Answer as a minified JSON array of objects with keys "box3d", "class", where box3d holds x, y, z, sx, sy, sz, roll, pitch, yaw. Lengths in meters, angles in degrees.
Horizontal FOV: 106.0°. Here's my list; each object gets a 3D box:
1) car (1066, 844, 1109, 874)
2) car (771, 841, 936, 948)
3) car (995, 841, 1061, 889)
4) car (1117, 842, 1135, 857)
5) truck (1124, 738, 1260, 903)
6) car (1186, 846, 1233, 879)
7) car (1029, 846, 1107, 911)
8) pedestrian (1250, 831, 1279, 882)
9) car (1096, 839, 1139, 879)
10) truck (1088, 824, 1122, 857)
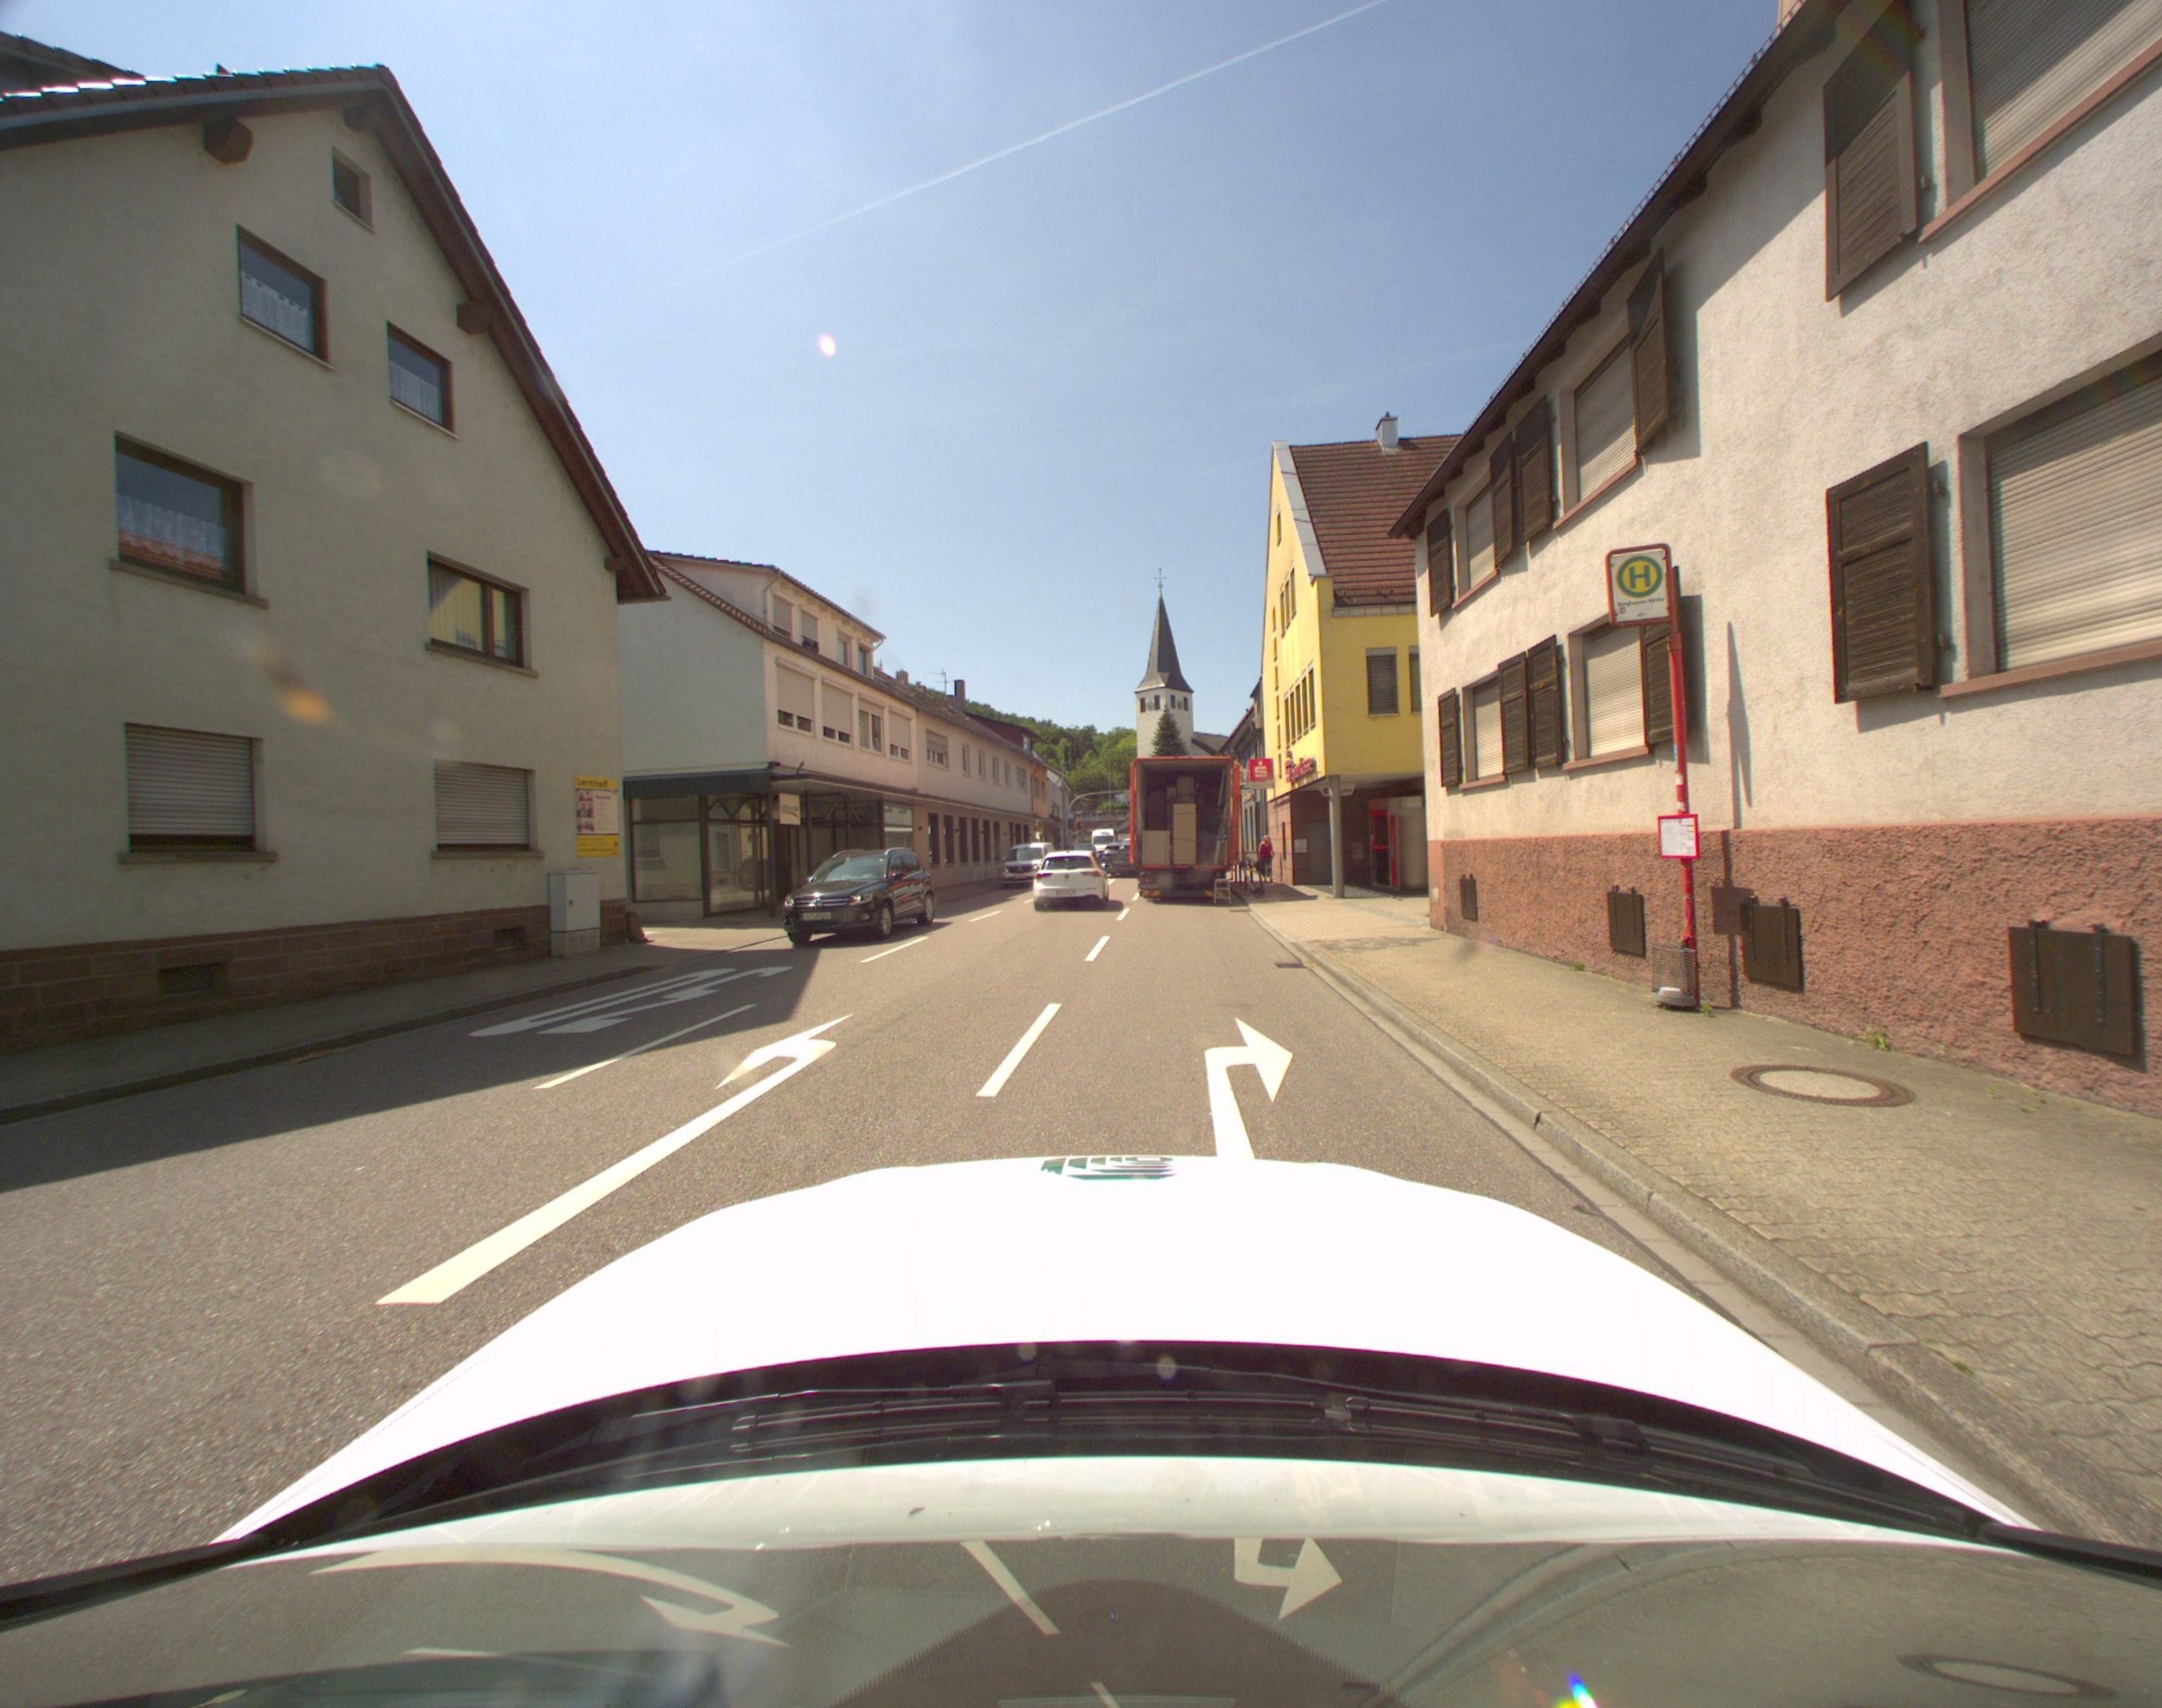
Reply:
[{"box3d":[0.436,0.318,49.286,1.982,1.651,4.009,-3,-1,8],"class":"car"},{"box3d":[-4.218,0.654,15.841,1.683,1.698,4.117,-3,1,4],"class":"car"},{"box3d":[-2.131,0.386,34.343,1.792,1.779,4.715,-3,0,7],"class":"car"},{"box3d":[4.766,-0.444,85.136,1.754,1.498,4.004,-3,-1,3],"class":"car"},{"box3d":[3.268,-0.848,26.242,3.352,4.170,9.529,-3,-1,4],"class":"truck"},{"box3d":[6.473,0.435,41.291,1.808,1.519,4.001,-3,-1,2],"class":"car"},{"box3d":[-0.246,0.593,21.217,1.808,1.519,4.001,-1,-1,2],"class":"car"},{"box3d":[6.501,0.099,28.908,0.766,1.742,0.871,-3,-1,0],"class":"pedestrian"},{"box3d":[1.676,0.239,37.703,1.808,1.628,4.001,-3,-1,2],"class":"car"},{"box3d":[2.062,-1.079,67.786,2.106,2.474,5.748,-3,-1,8],"class":"truck"}]
